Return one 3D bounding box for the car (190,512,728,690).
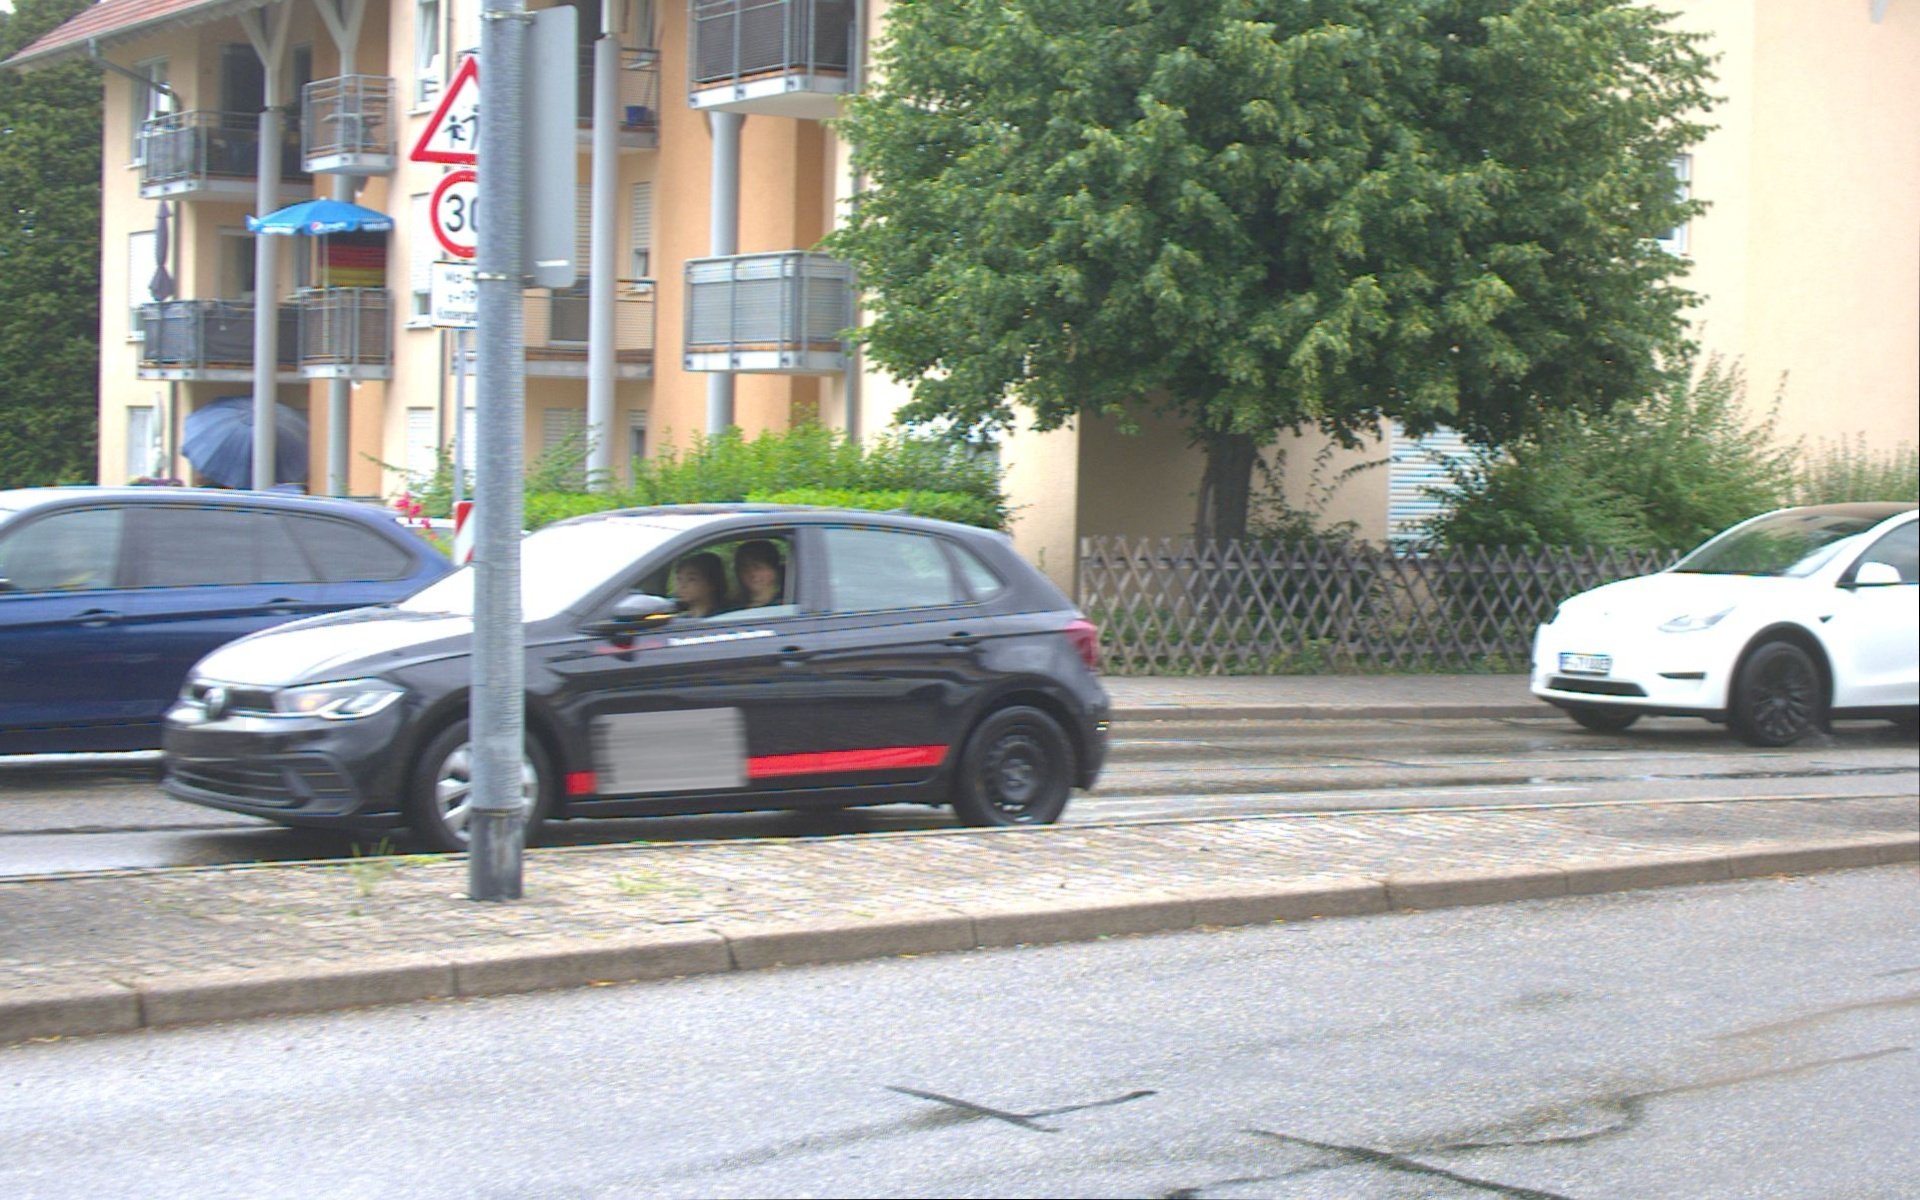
[{"bbox_3d":[-4.280,0.018,29.412,4.188,1.434,1.823,1,0,-25],"label":"car"}]

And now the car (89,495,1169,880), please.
[{"bbox_3d":[-1.337,0.281,14.568,4.189,1.403,1.822,-1,2,-34],"label":"car"}]

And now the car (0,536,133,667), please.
[{"bbox_3d":[-18.251,-0.089,61.584,6.000,2.193,2.853,3,1,-30],"label":"car"}]

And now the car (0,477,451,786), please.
[{"bbox_3d":[-4.841,0.127,16.704,4.339,1.430,1.760,1,1,-36],"label":"car"}]

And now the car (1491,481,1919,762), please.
[{"bbox_3d":[6.087,0.114,23.594,4.585,1.719,1.954,0,3,-31],"label":"car"}]
